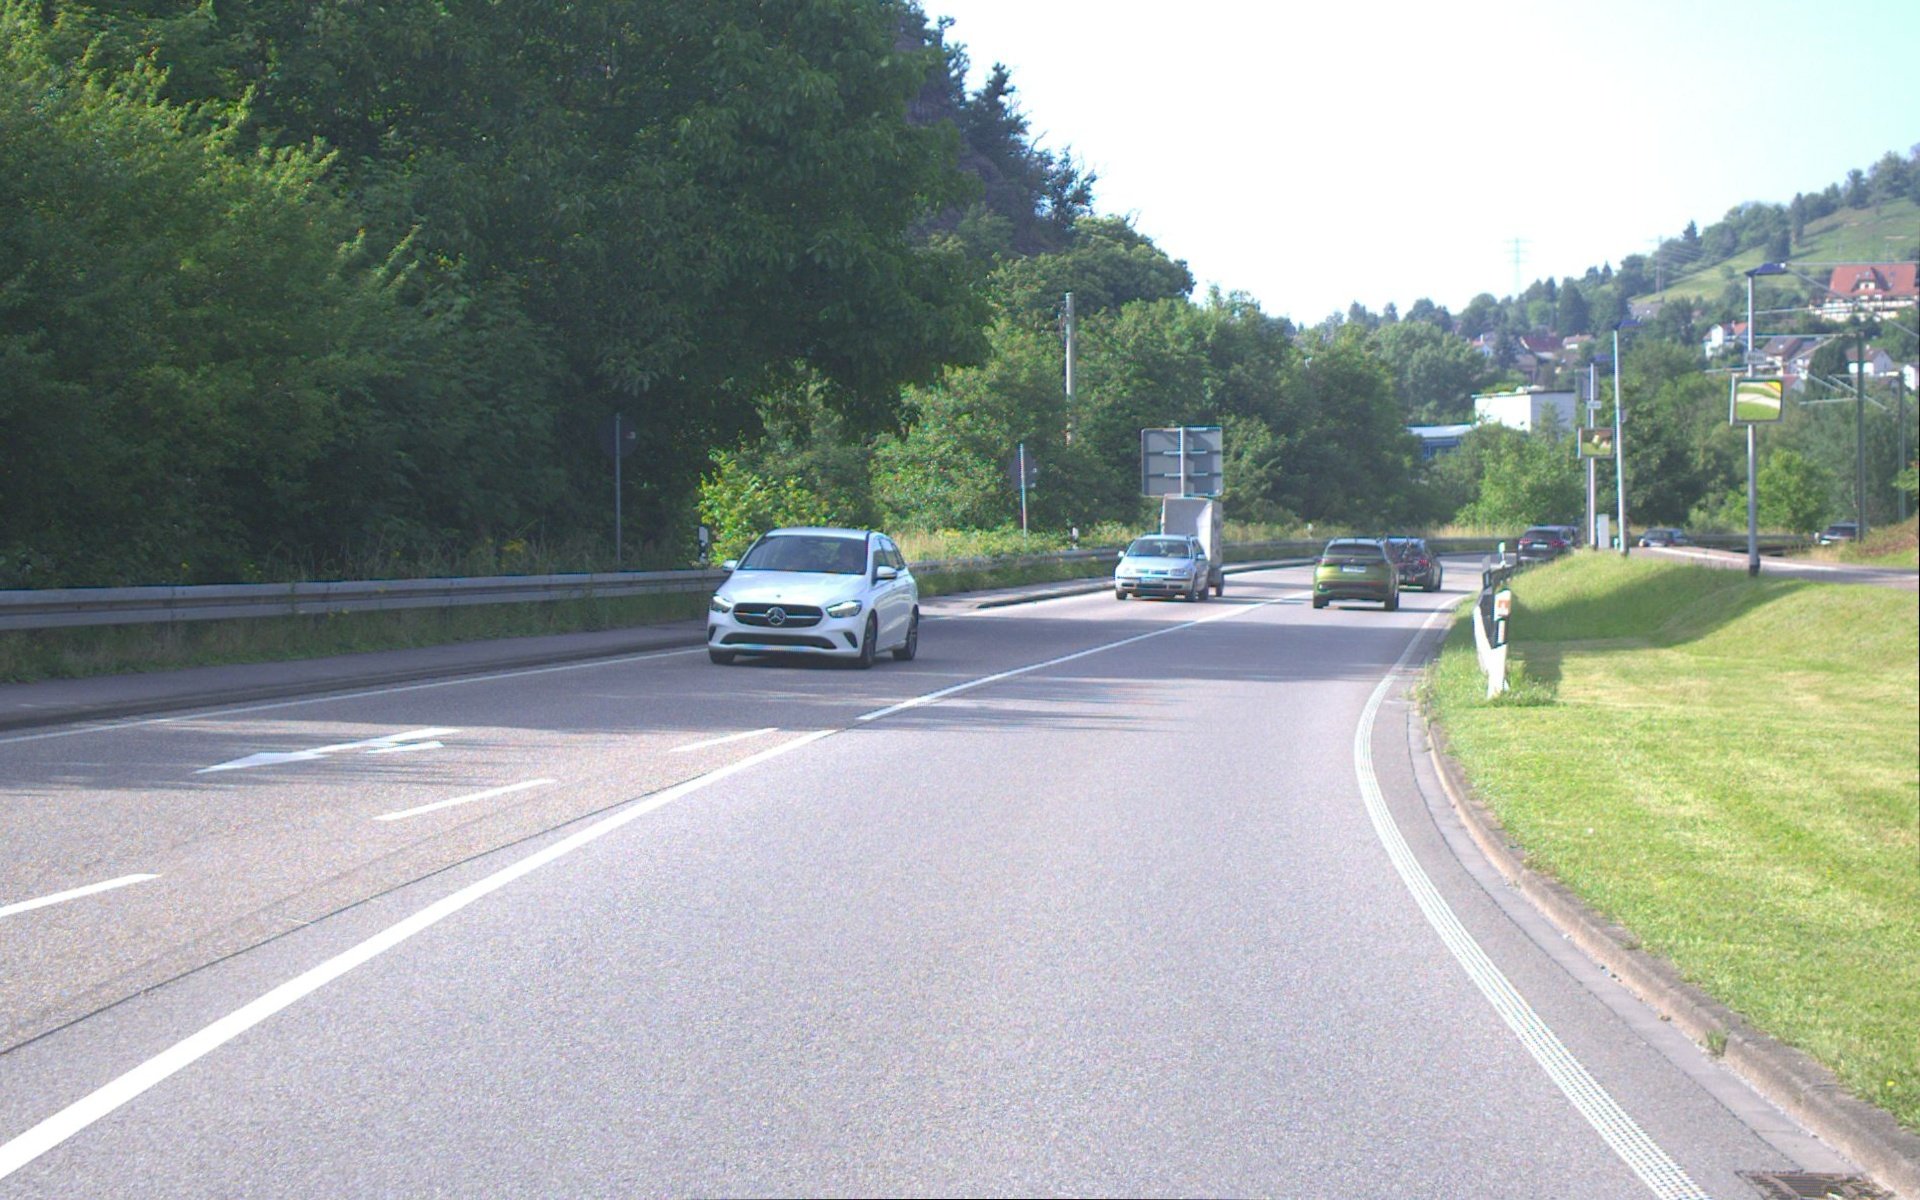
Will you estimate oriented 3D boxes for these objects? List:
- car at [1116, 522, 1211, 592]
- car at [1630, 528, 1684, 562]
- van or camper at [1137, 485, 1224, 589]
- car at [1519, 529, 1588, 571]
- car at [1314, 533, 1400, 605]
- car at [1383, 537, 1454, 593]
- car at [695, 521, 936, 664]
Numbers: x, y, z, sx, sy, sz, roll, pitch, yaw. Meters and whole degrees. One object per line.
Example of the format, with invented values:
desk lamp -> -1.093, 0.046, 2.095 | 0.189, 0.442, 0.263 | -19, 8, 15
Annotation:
car -> 4.521, -0.966, 75.911 | 1.649, 1.431, 4.604 | 2, 2, 8
car -> 30.256, -2.379, 149.096 | 1.810, 1.403, 3.770 | -1, 1, 19
van or camper -> 5.173, -1.484, 80.193 | 1.603, 2.320, 4.058 | 2, 2, 8
car -> 21.903, -1.856, 126.811 | 1.808, 1.448, 3.643 | -1, 1, 21
car -> 8.431, -0.670, 73.007 | 1.729, 1.452, 3.410 | -1, 1, 7
car -> 12.611, -0.979, 94.414 | 1.840, 1.454, 3.712 | -1, 1, 9
car -> -1.569, -0.135, 39.084 | 1.945, 1.481, 4.584 | 2, 2, 7
